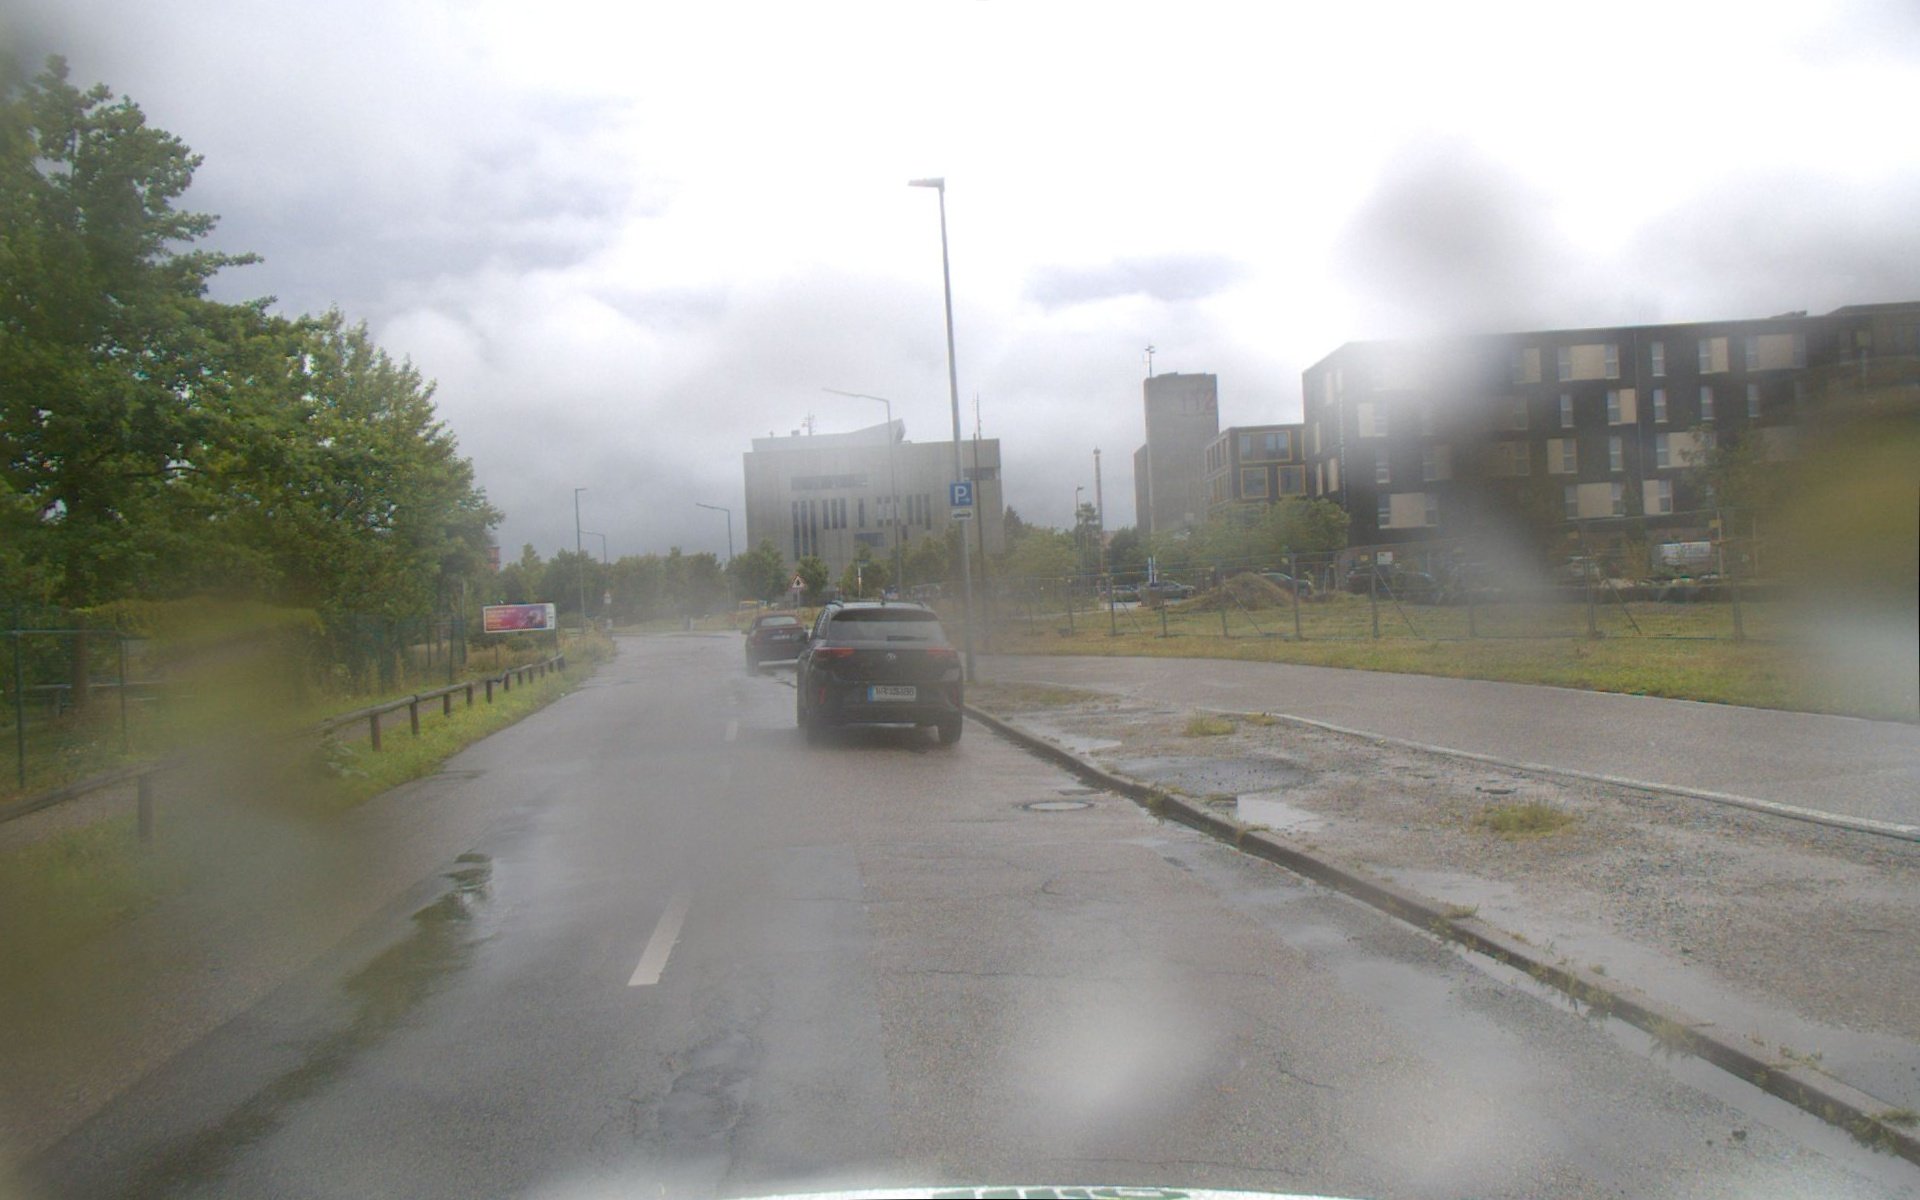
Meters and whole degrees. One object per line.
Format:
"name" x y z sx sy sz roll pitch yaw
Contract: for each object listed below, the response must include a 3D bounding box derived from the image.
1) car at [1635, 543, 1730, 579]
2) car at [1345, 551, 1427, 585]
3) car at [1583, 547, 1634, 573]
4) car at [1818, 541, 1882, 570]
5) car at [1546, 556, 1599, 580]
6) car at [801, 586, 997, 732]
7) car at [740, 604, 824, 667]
"car" 39.105 -2.117 89.622 4.234 1.803 2.000 2 0 0
"car" 23.053 -1.726 89.611 3.908 1.758 1.998 0 0 -4
"car" 39.327 -2.411 100.391 1.604 1.421 3.781 -1 -1 0
"car" 53.751 -2.664 99.993 1.744 1.643 3.842 0 0 -1
"car" 37.168 -1.939 100.402 1.727 1.420 3.807 0 0 -1
"car" -0.835 0.617 19.750 1.949 1.547 3.993 0 0 -8
"car" -4.893 0.925 45.006 1.809 1.466 3.989 -6 1 -11
